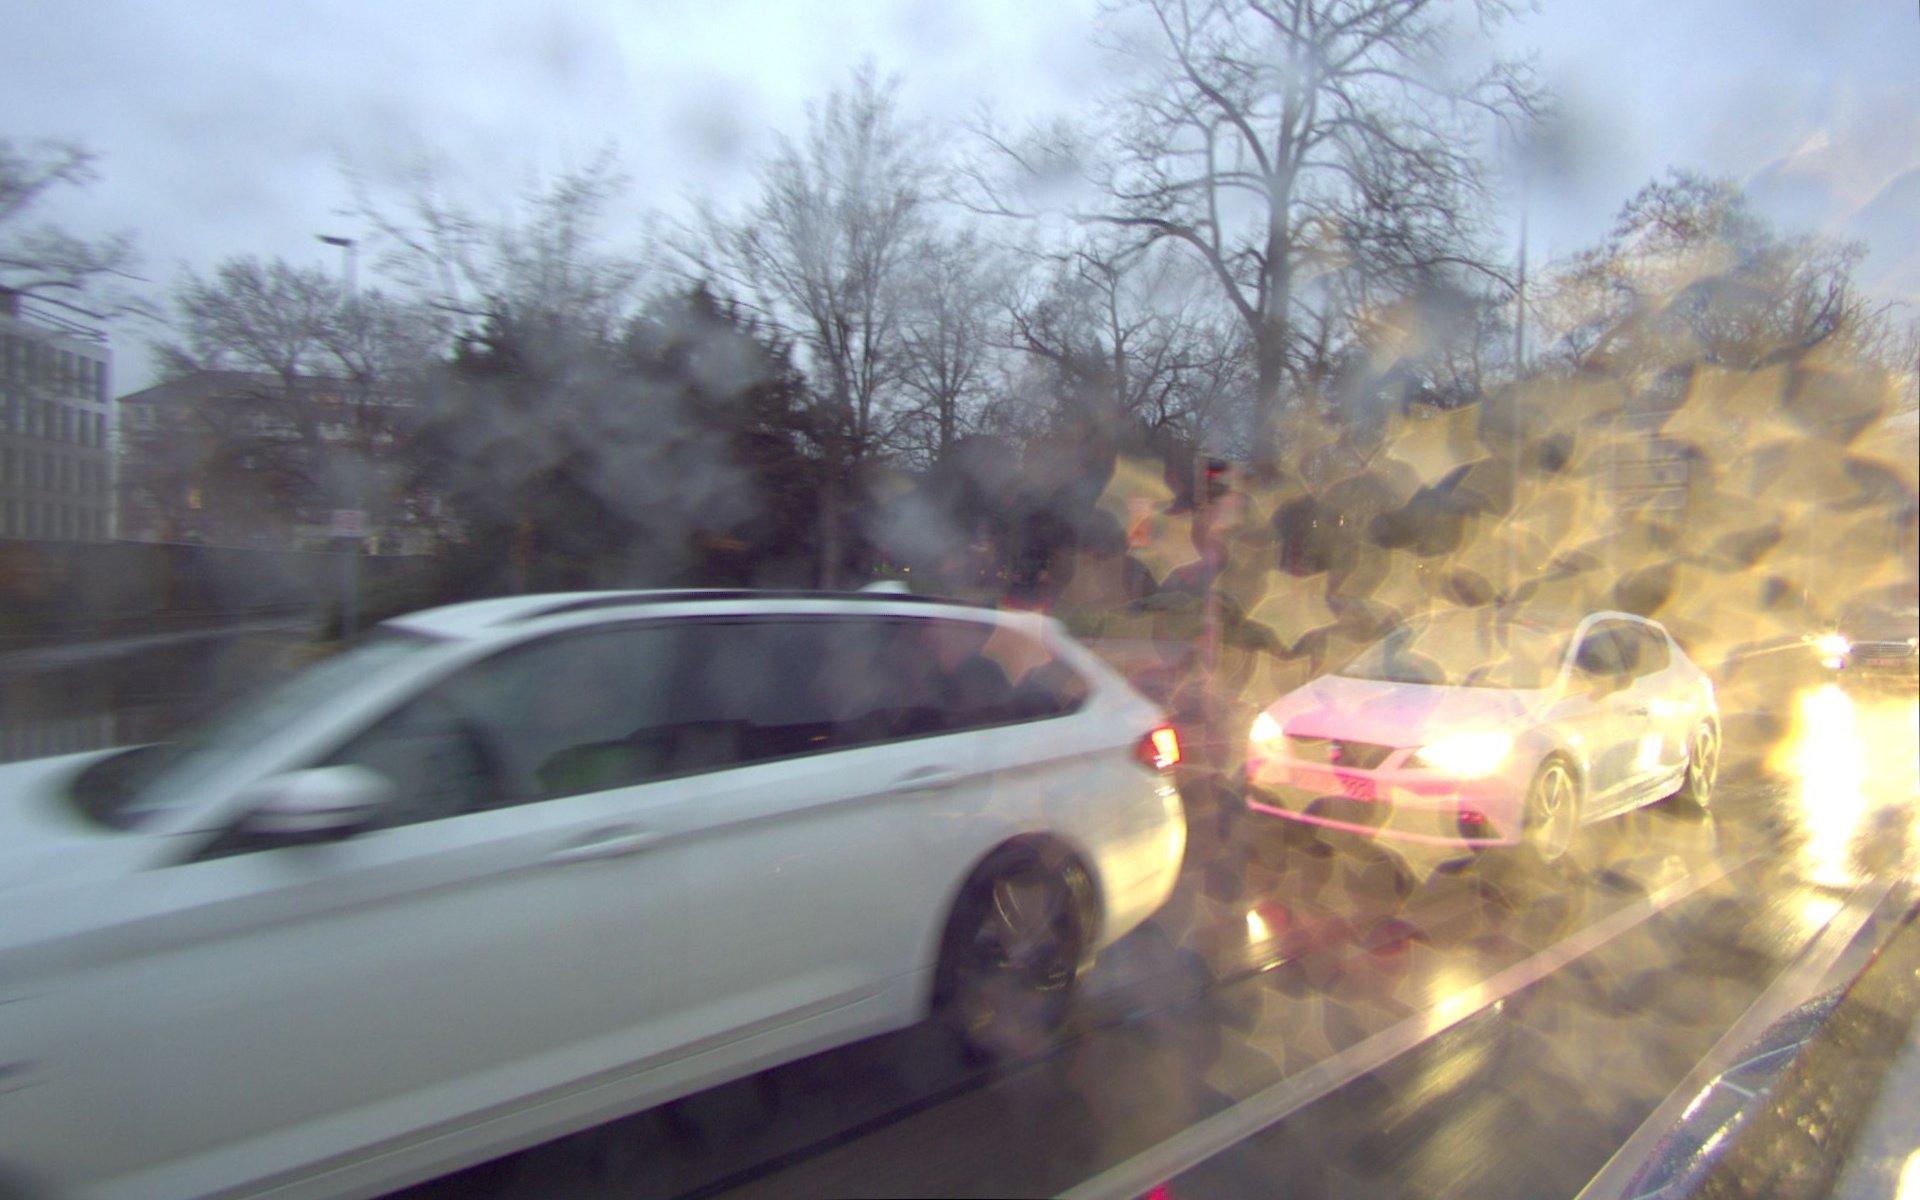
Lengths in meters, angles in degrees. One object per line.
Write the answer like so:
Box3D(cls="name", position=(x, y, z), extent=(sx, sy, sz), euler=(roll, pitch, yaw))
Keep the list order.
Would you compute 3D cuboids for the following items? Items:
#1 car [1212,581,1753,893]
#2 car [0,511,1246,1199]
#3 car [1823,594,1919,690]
Box3D(cls="car", position=(3.689, 0.634, 6.885), extent=(3.967, 1.479, 1.778), euler=(-1, 2, -38))
Box3D(cls="car", position=(-1.401, 0.576, 3.097), extent=(4.875, 1.520, 1.792), euler=(-1, 1, -37))
Box3D(cls="car", position=(17.300, 0.697, 18.386), extent=(4.007, 1.517, 1.879), euler=(-2, 2, -41))
